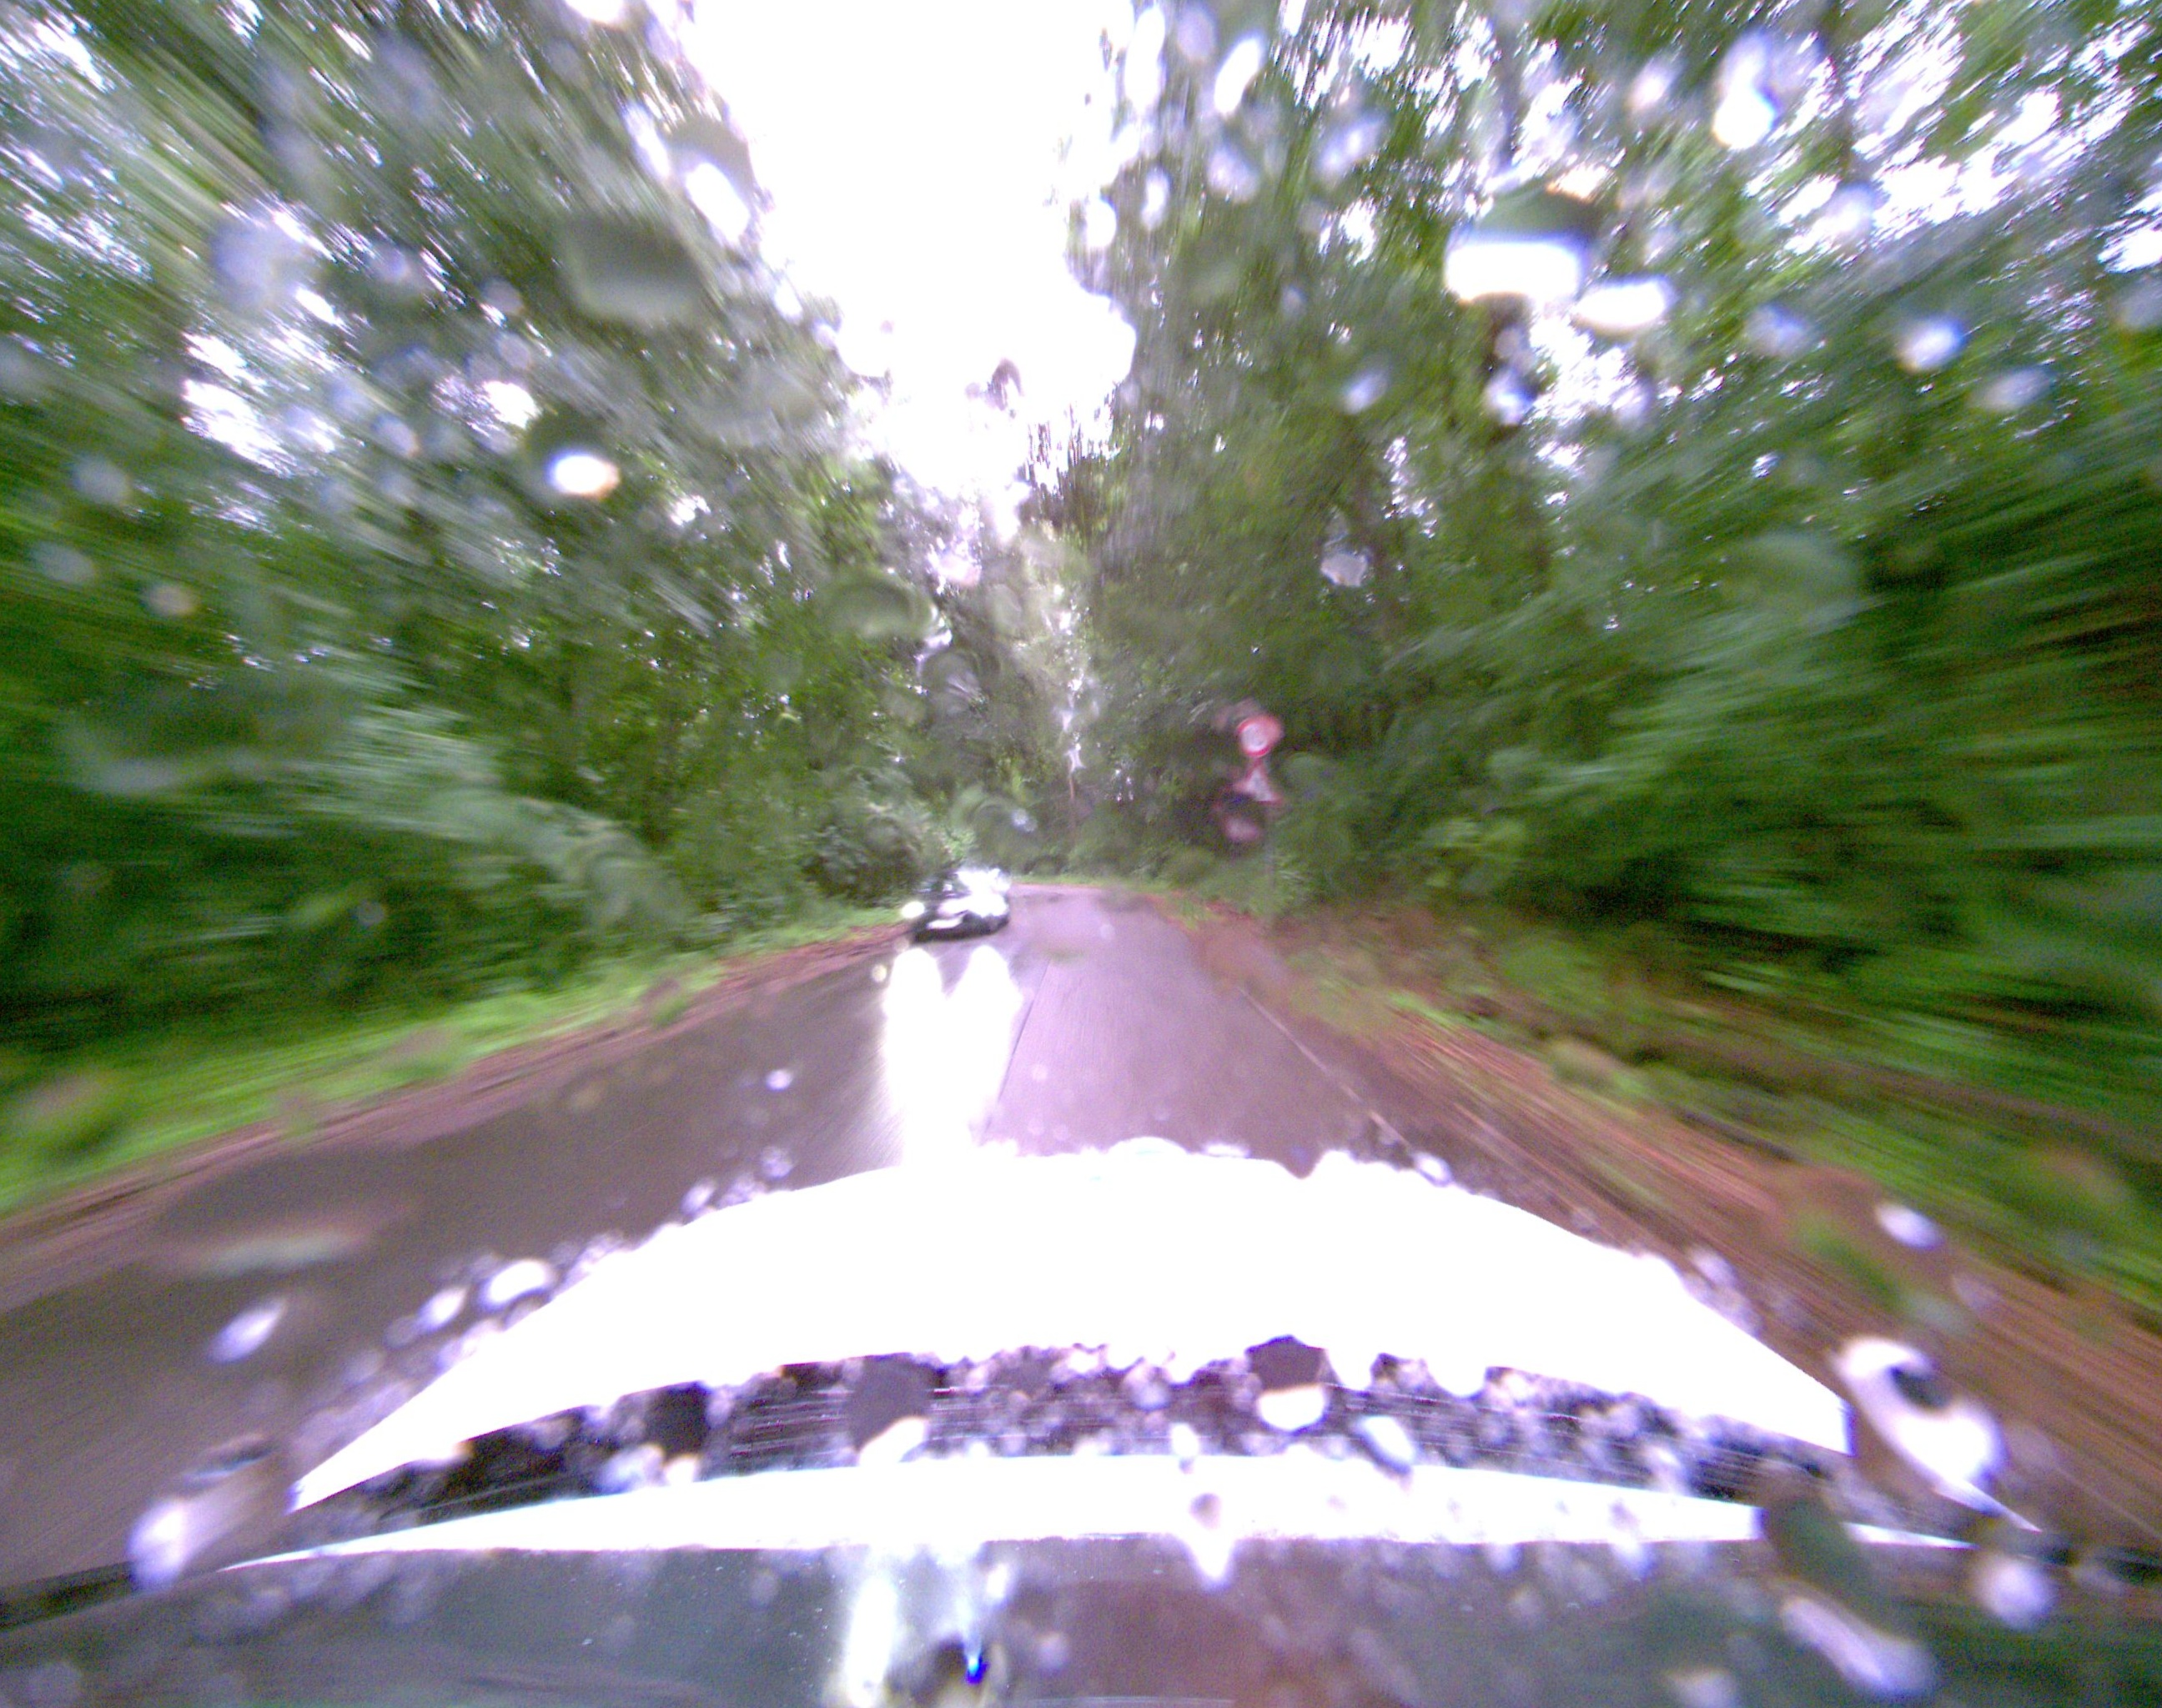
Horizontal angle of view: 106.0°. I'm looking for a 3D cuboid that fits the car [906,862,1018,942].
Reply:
[{"bbox_3d":[-2.547,0.978,18.262,1.707,1.475,3.892,-4,-1,2],"label":"car"}]
